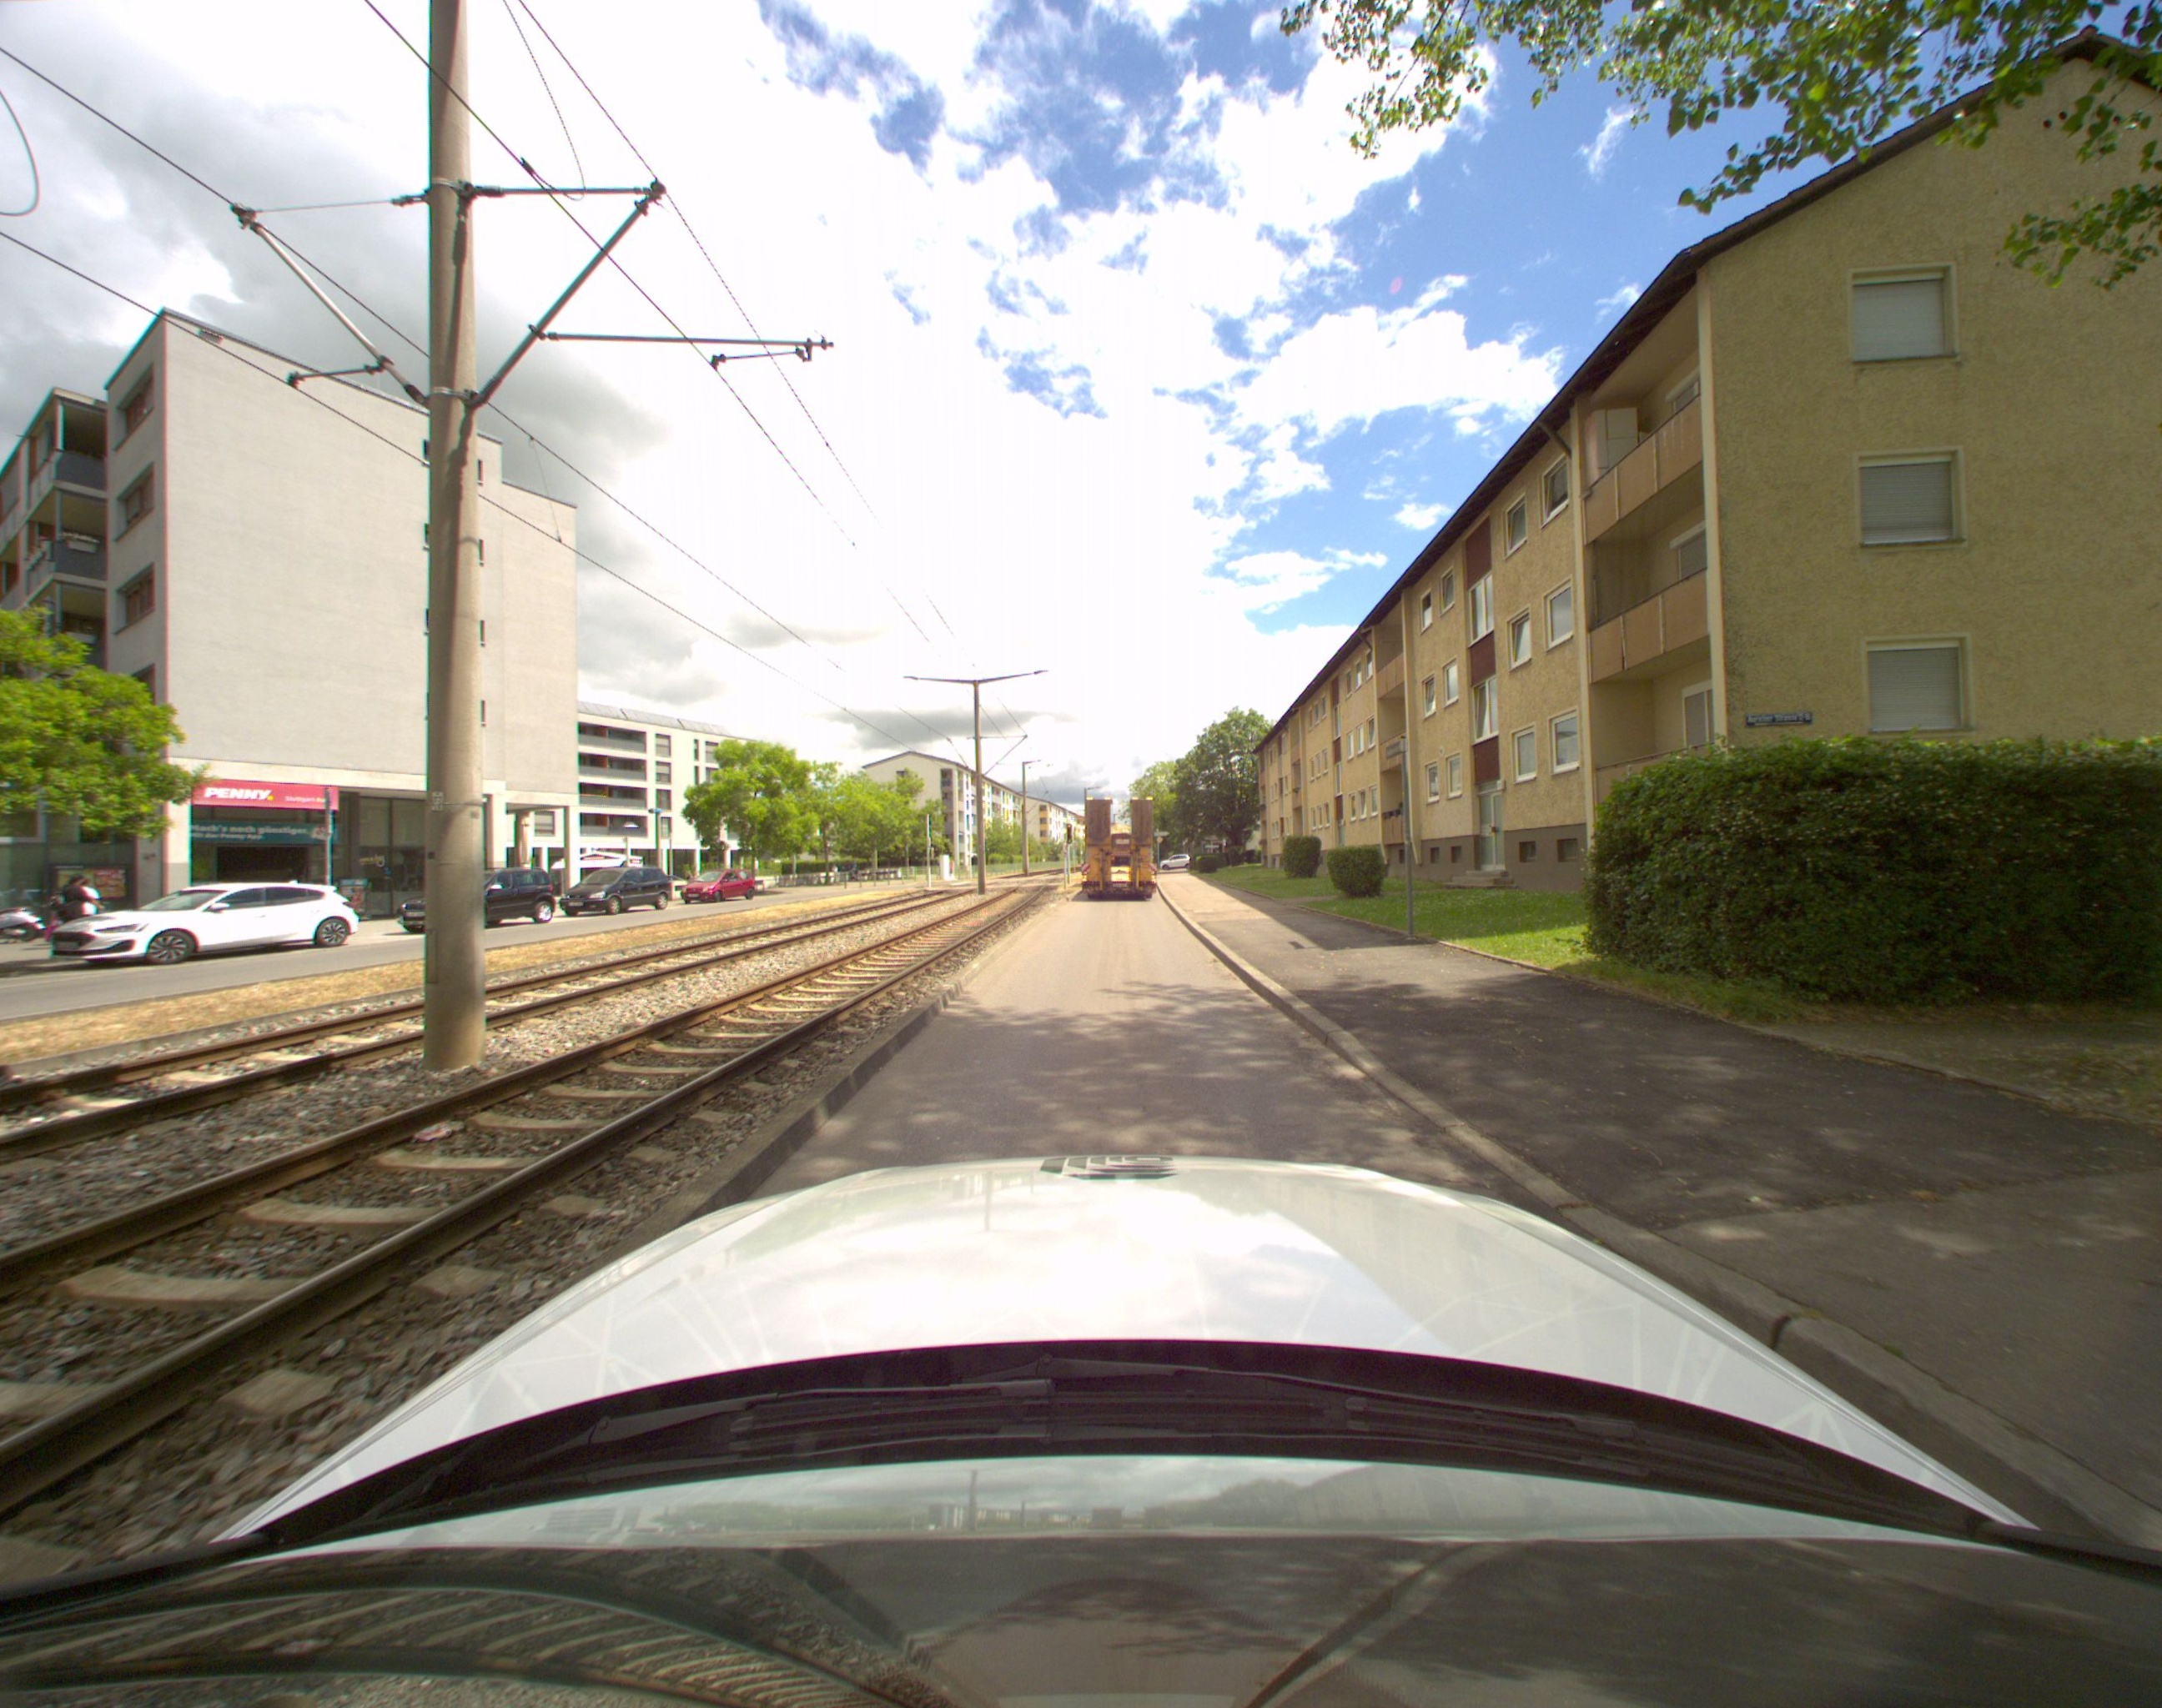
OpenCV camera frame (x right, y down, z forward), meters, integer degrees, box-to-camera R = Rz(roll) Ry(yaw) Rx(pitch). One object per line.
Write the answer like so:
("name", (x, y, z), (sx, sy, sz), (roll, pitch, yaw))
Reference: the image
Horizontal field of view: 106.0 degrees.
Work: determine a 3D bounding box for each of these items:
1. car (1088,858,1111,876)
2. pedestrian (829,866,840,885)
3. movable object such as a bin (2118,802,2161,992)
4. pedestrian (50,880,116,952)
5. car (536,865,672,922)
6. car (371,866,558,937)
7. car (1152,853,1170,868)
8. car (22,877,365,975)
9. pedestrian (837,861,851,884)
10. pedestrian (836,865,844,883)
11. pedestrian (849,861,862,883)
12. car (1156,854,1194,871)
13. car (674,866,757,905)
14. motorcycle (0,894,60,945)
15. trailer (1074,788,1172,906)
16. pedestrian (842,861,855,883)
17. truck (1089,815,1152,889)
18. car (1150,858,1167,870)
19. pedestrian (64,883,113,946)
("car", (1.856, 1.311, 80.986), (1.792, 1.652, 4.139), (-3, -1, 7))
("pedestrian", (-20.359, 1.787, 67.272), (0.539, 1.547, 0.532), (-3, 0, 25))
("movable object such as a bin", (8.693, 0.302, 5.992), (1.094, 1.439, 0.762), (-3, 0, 1))
("pedestrian", (-23.185, 1.420, 18.936), (0.666, 1.573, 0.683), (-3, 0, -24))
("car", (-16.590, 1.315, 28.605), (1.983, 1.648, 4.108), (-3, 0, 7))
("car", (-17.000, 1.234, 22.766), (1.986, 1.662, 4.102), (-1, 0, 2))
("car", (9.688, 0.767, 98.791), (1.985, 1.618, 4.004), (-3, 0, 4))
("car", (-17.578, 1.344, 16.527), (1.744, 1.475, 4.412), (-3, 0, 9))
("pedestrian", (-17.096, 1.340, 58.742), (0.618, 1.573, 0.701), (-3, 0, 15))
("pedestrian", (-17.171, 1.438, 57.984), (0.501, 1.267, 0.497), (-3, 0, -19))
("pedestrian", (-16.725, 1.333, 60.375), (0.619, 1.573, 0.559), (-3, 0, 9))
("car", (9.841, 0.933, 84.890), (3.571, 1.584, 2.008), (-3, -1, 16))
("car", (-15.883, 1.345, 35.567), (1.603, 1.426, 3.433), (-3, 0, 10))
("motorcycle", (-26.567, 1.633, 20.046), (1.885, 1.178, 0.742), (-3, 0, 1))
("trailer", (1.580, -0.275, 32.872), (3.039, 3.772, 11.617), (-3, 0, 2))
("pedestrian", (-16.940, 1.321, 59.414), (0.618, 1.573, 0.560), (-3, 0, 15))
("truck", (1.977, -0.143, 42.212), (2.823, 3.330, 7.988), (-3, 0, 2))
("car", (9.832, 1.288, 104.032), (1.985, 1.387, 4.004), (-3, 0, 4))
("pedestrian", (-24.041, 1.440, 19.732), (0.499, 1.460, 0.556), (-3, 0, -24))
